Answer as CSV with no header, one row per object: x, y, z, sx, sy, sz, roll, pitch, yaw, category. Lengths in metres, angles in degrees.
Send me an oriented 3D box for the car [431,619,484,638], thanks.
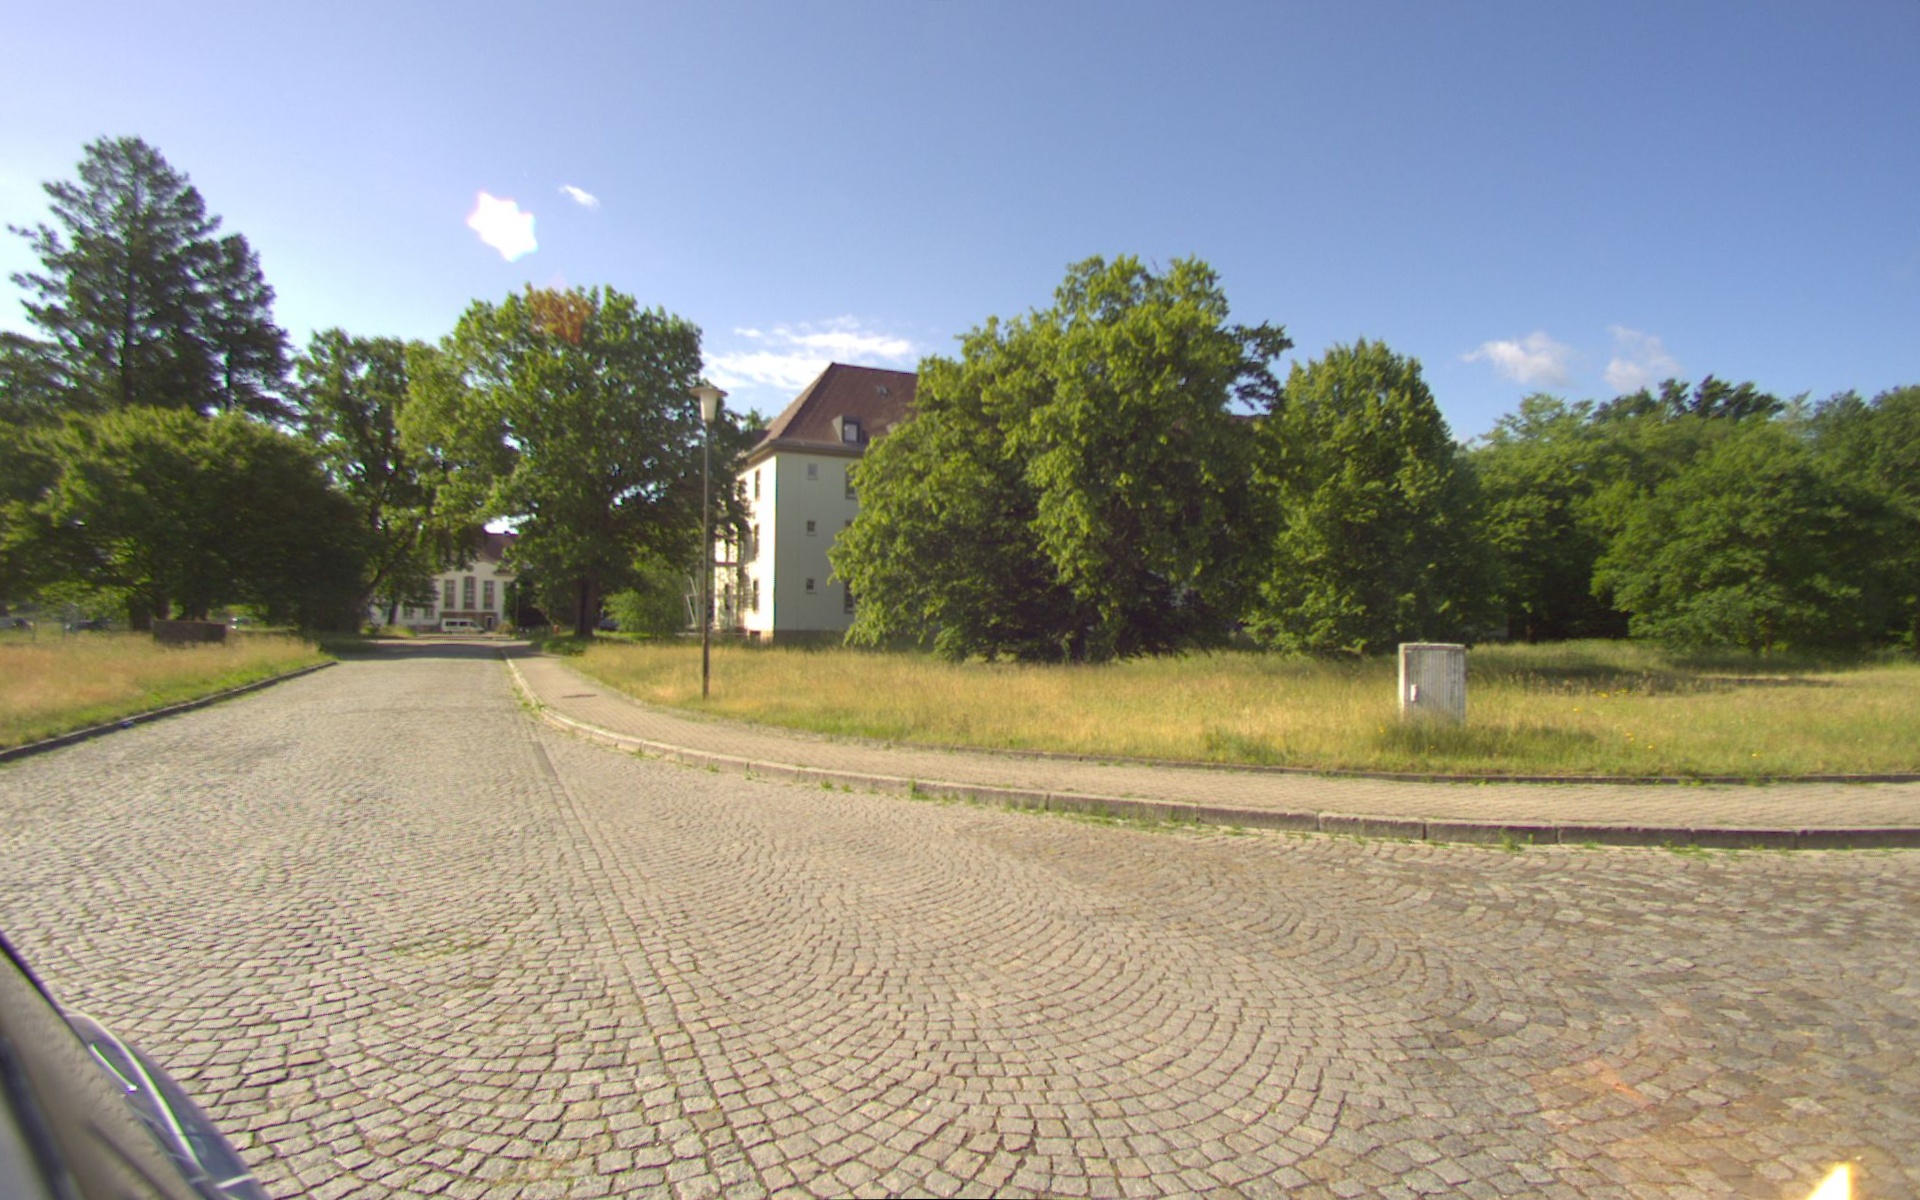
-68.793,3.933,138.598,6.338,2.485,2.471,1,-2,-25,car

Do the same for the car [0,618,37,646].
-65.793,2.157,69.523,2.208,1.853,4.363,1,-2,-25,car

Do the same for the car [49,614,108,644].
-61.884,2.032,71.101,2.209,2.029,4.363,2,-2,-29,car

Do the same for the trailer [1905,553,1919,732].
14.269,0.523,11.496,2.100,2.315,4.686,1,-2,-24,trailer
